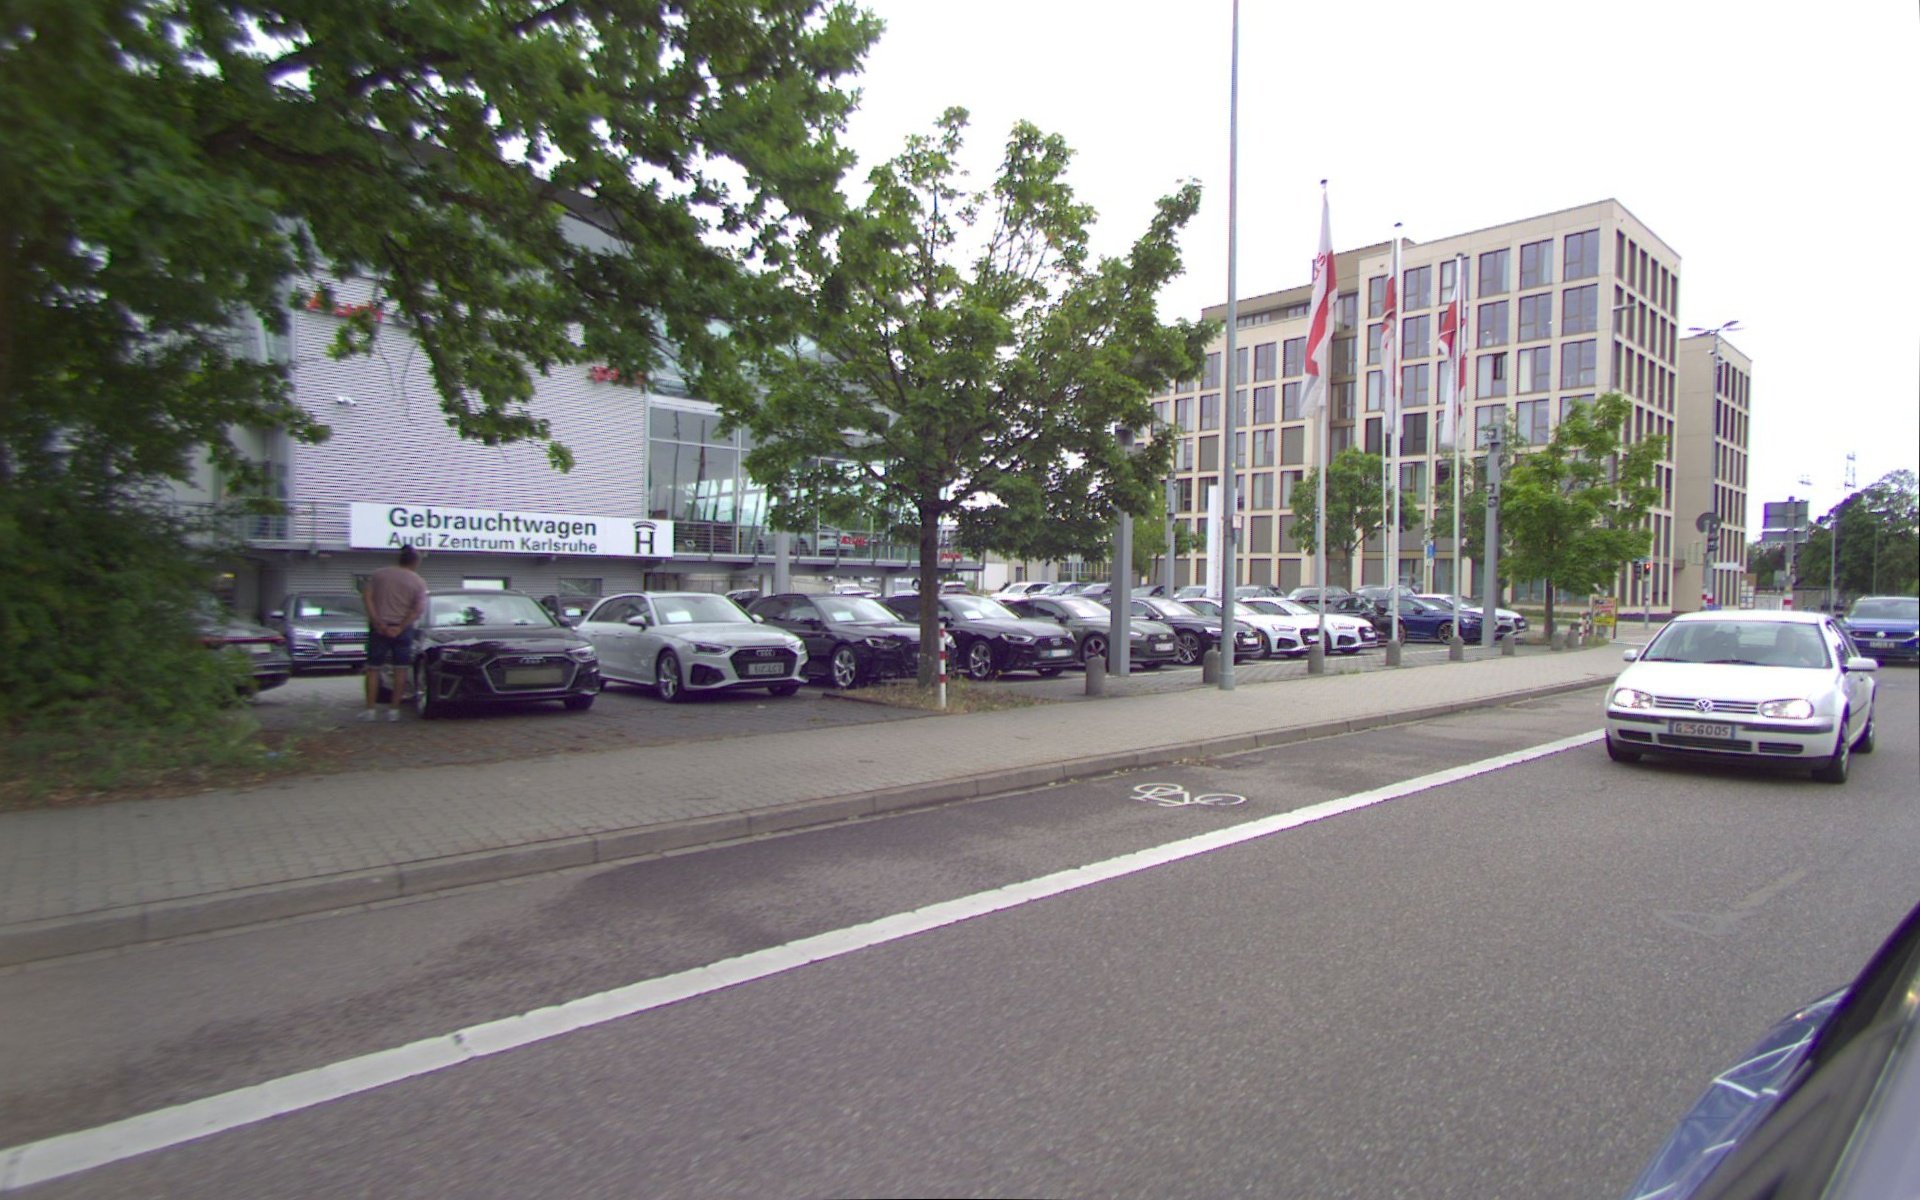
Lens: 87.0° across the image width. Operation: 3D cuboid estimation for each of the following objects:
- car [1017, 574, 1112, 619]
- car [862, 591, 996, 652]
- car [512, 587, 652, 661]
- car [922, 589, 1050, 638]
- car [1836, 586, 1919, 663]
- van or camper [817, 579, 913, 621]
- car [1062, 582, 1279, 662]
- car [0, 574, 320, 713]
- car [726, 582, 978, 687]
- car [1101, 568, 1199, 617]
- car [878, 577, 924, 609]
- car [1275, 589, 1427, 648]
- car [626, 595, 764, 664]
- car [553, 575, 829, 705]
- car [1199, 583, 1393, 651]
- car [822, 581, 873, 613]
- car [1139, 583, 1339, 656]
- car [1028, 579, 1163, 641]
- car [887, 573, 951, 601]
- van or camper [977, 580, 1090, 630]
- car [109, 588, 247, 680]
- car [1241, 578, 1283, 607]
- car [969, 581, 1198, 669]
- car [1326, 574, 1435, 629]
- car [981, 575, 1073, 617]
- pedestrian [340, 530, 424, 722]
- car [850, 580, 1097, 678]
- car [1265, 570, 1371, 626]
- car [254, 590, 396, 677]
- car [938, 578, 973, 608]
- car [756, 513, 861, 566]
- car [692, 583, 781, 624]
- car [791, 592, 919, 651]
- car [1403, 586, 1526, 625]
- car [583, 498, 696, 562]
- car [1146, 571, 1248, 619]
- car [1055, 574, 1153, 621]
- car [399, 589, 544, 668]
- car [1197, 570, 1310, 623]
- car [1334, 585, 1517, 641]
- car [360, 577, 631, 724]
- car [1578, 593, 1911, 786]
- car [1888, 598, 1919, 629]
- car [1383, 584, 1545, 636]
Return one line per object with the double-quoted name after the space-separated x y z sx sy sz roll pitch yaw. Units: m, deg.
5.236 -0.224 50.255 4.826 2.038 1.996 -2 2 -43 "car"
-1.034 0.625 31.264 1.779 1.717 4.312 2 -1 -41 "car"
-8.998 0.569 23.934 1.784 1.600 3.961 2 -2 -41 "car"
0.788 0.483 33.339 1.894 1.505 4.255 2 -3 -40 "car"
21.988 0.517 23.457 4.254 1.642 1.846 0 0 -39 "car"
-4.234 0.022 45.463 3.930 1.733 1.844 2 -1 -42 "van or camper"
4.292 0.461 21.172 1.838 1.505 4.225 0 -2 -40 "car"
-10.635 0.486 12.736 4.205 1.518 1.764 2 -1 8 "car"
-1.803 0.512 15.771 1.869 1.409 4.160 0 -2 -41 "car"
8.660 -0.377 45.906 4.711 2.038 1.995 -2 2 -44 "car"
-3.369 -0.389 57.194 1.882 1.679 4.454 -1 0 -13 "car"
10.776 0.475 27.723 4.672 1.505 1.889 0 -1 -41 "car"
-6.759 0.739 25.574 1.784 1.600 3.961 2 -2 -41 "car"
-3.870 0.512 14.003 1.816 1.491 4.655 1 -2 -41 "car"
8.159 0.430 24.883 1.820 1.505 4.191 0 -2 -40 "car"
-6.184 -0.176 55.168 1.882 1.679 4.455 -1 0 -18 "car"
6.260 0.453 23.056 1.844 1.505 4.037 0 -2 -41 "car"
4.742 0.299 35.020 4.733 1.964 1.997 0 1 -41 "car"
-2.657 -0.807 64.479 1.965 1.638 3.993 2 -1 -41 "car"
2.769 0.211 37.494 3.930 1.699 1.996 2 -1 -42 "van or camper"
-14.591 0.559 18.796 1.710 1.505 4.345 2 -1 -41 "car"
21.340 -0.510 71.667 1.964 1.990 4.240 1 0 4 "car"
2.275 0.482 19.502 1.875 1.505 4.182 0 -2 -41 "car"
15.789 -0.011 37.909 4.707 1.886 1.996 -2 2 -43 "car"
3.517 -0.262 52.525 4.826 2.038 1.996 -2 2 -43 "car"
-5.955 0.256 10.459 0.704 1.895 0.674 0 -1 -26 "pedestrian"
0.111 0.491 17.606 1.862 1.489 4.371 0 -2 -41 "car"
14.145 -0.118 39.883 4.637 2.038 1.996 -2 2 -42 "car"
-13.048 0.623 20.681 1.784 1.564 4.108 2 -1 -41 "car"
-0.203 -0.396 58.648 1.887 1.679 4.444 -1 0 2 "car"
-5.524 -2.124 36.574 1.794 1.683 3.992 3 -1 -42 "car"
-11.068 0.190 50.250 3.932 1.861 1.756 2 -1 -44 "car"
-3.129 0.594 29.466 1.697 1.562 3.993 2 -1 -41 "car"
22.770 0.220 45.855 1.948 1.570 4.613 1 1 -37 "car"
-9.980 -2.099 31.347 1.794 1.683 3.992 3 -1 -42 "car"
10.371 -0.259 44.083 4.882 1.899 2.049 -2 2 -44 "car"
6.891 -0.168 48.099 4.826 2.038 1.996 -2 2 -43 "car"
-10.792 0.574 22.215 1.784 1.564 4.108 2 -1 -41 "car"
12.299 -0.210 42.255 4.954 2.038 2.262 -2 2 -42 "car"
13.802 0.401 30.221 2.035 1.505 4.506 -2 0 -42 "car"
-5.680 0.527 12.090 1.823 1.439 4.209 1 -1 -41 "car"
7.766 0.722 9.895 3.934 1.496 1.836 1 0 -41 "car"
48.894 0.713 51.636 4.077 1.509 1.869 2 -1 -42 "car"
15.917 0.306 32.117 1.842 1.505 4.222 -1 0 -40 "car"
